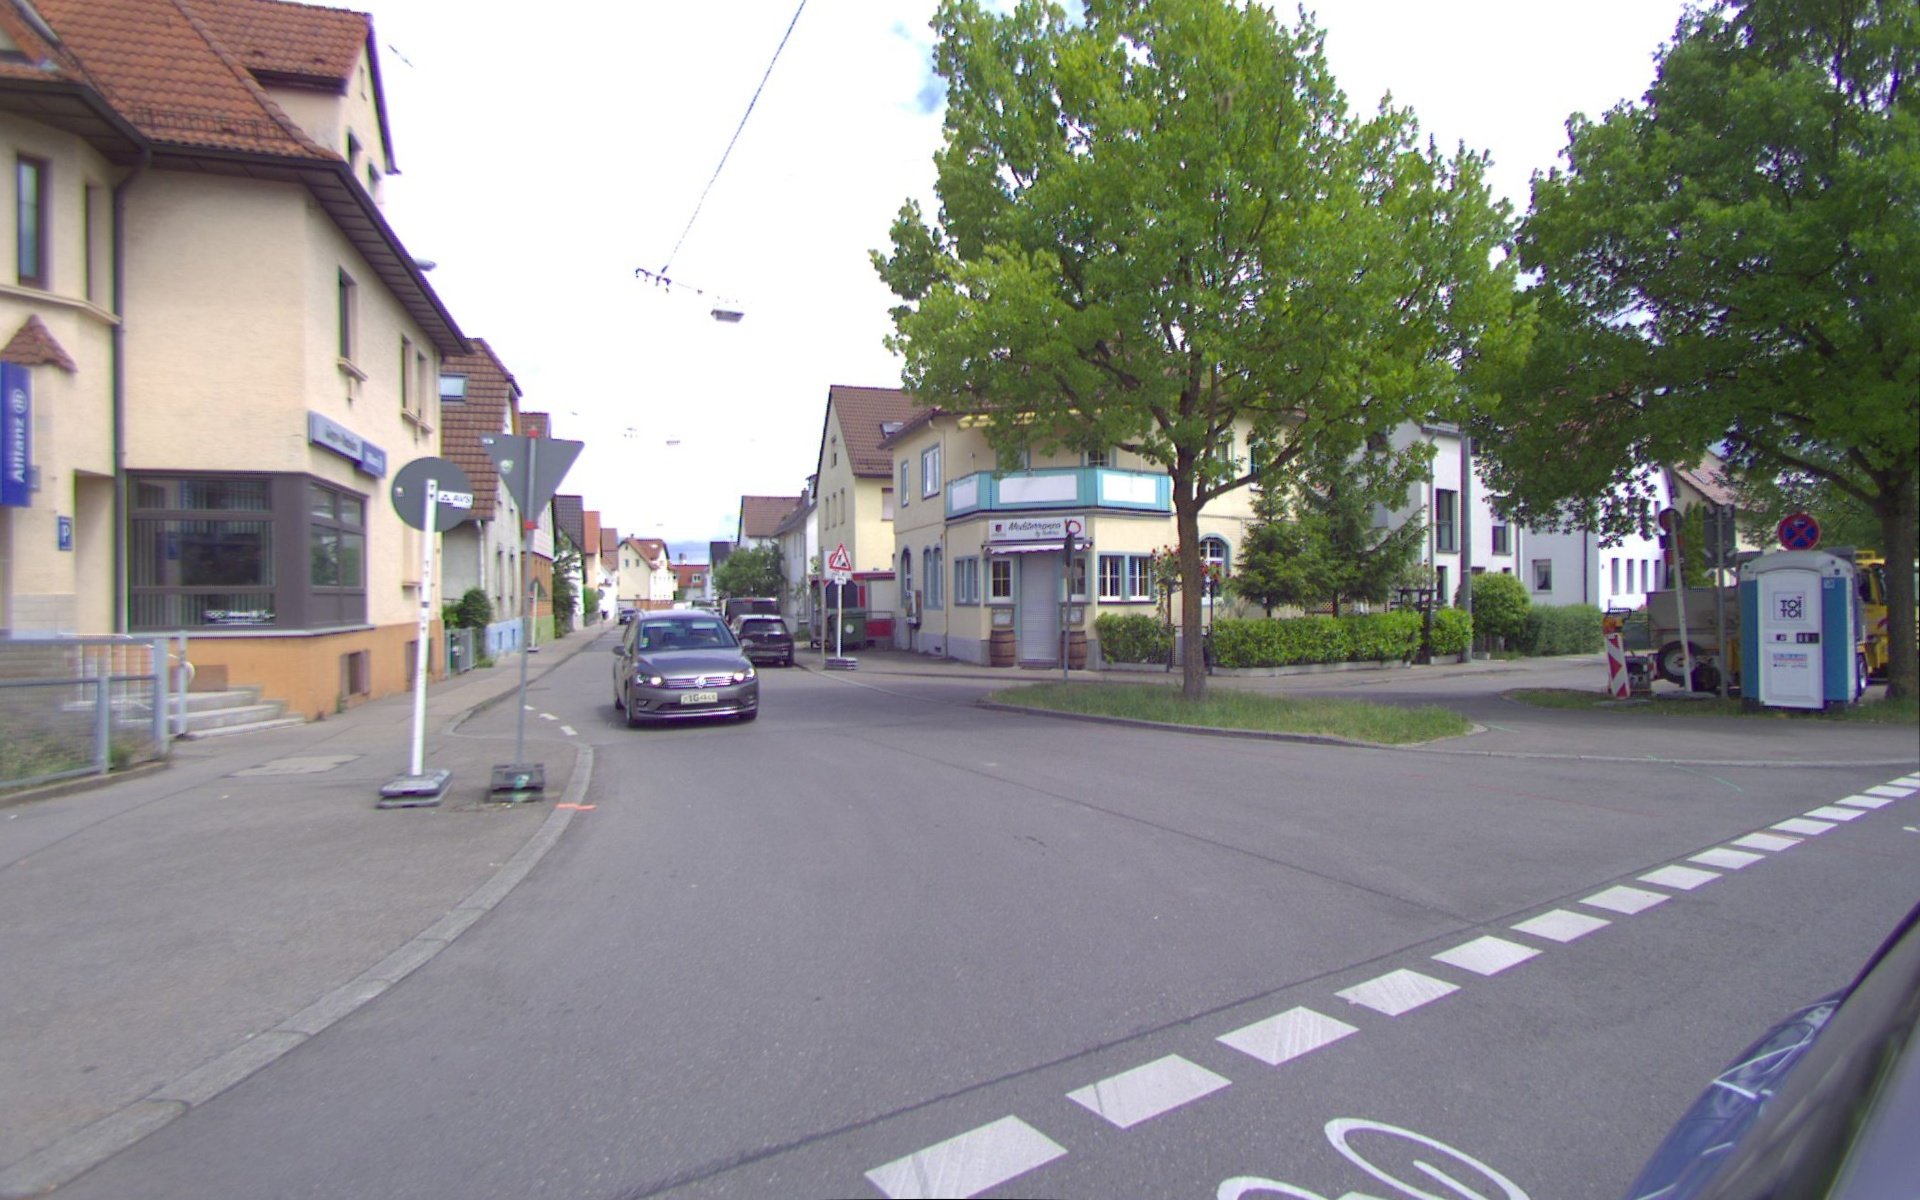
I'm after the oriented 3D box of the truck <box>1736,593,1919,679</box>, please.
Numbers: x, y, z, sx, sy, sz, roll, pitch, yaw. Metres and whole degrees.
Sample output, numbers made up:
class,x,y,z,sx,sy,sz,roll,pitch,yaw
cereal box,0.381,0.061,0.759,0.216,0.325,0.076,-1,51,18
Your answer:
class,x,y,z,sx,sy,sz,roll,pitch,yaw
truck,23.655,0.951,26.601,1.963,2.040,5.953,0,-2,1

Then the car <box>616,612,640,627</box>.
class,x,y,z,sx,sy,sz,roll,pitch,yaw
car,-31.031,1.777,94.705,1.958,1.349,4.008,1,-1,-16

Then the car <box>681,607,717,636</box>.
class,x,y,z,sx,sy,sz,roll,pitch,yaw
car,-14.852,1.184,57.459,1.891,1.573,3.885,1,-1,-16

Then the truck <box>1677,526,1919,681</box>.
class,x,y,z,sx,sy,sz,roll,pitch,yaw
truck,20.941,0.261,24.479,2.298,3.241,6.628,1,-3,-1

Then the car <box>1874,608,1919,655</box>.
class,x,y,z,sx,sy,sz,roll,pitch,yaw
car,34.120,1.122,34.554,1.963,1.598,4.305,1,1,2

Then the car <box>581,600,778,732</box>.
class,x,y,z,sx,sy,sz,roll,pitch,yaw
car,-4.217,0.866,14.788,1.832,1.646,4.003,1,-2,-30

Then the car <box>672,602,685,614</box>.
class,x,y,z,sx,sy,sz,roll,pitch,yaw
car,-46.543,1.290,167.444,2.067,1.896,3.885,1,-1,-16

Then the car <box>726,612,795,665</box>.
class,x,y,z,sx,sy,sz,roll,pitch,yaw
car,-5.792,1.052,29.083,1.678,1.395,4.008,1,-1,-15

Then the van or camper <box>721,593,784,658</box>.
class,x,y,z,sx,sy,sz,roll,pitch,yaw
van or camper,-7.007,0.815,33.913,1.814,2.024,4.099,1,-1,-15

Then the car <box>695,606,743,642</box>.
class,x,y,z,sx,sy,sz,roll,pitch,yaw
car,-11.143,1.081,46.671,1.958,1.573,3.885,1,-1,-16

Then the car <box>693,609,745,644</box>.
class,x,y,z,sx,sy,sz,roll,pitch,yaw
car,-10.219,1.096,42.809,1.958,1.378,3.885,1,-1,-16

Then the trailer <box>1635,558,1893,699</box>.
class,x,y,z,sx,sy,sz,roll,pitch,yaw
trailer,15.267,0.514,19.106,5.571,2.275,2.597,1,-3,-39

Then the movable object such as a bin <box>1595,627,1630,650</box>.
class,x,y,z,sx,sy,sz,roll,pitch,yaw
movable object such as a bin,28.926,1.702,44.871,0.808,0.953,1.121,1,-1,-40

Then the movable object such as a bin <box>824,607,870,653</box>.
class,x,y,z,sx,sy,sz,roll,pitch,yaw
movable object such as a bin,-3.840,1.003,34.293,1.384,1.510,1.309,1,-1,-13
